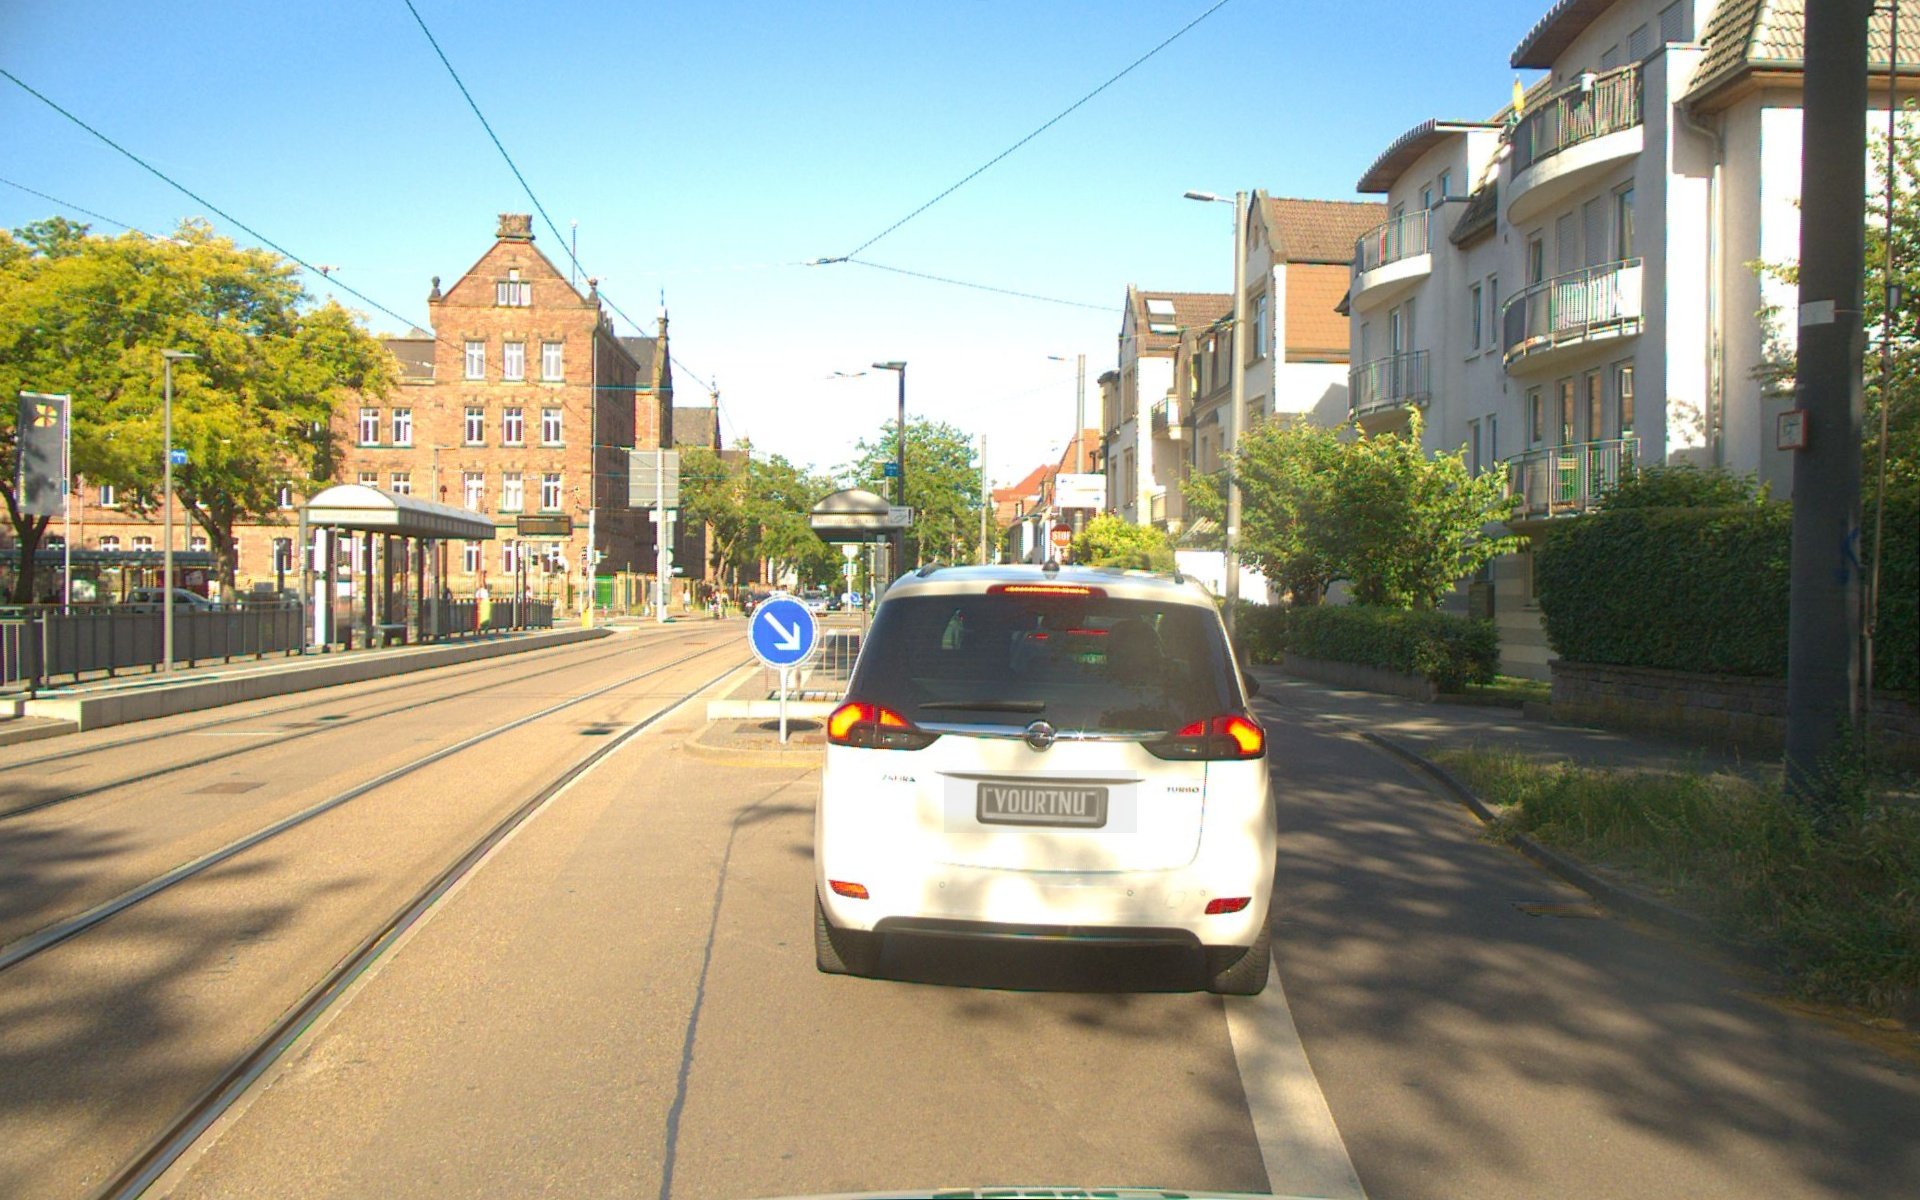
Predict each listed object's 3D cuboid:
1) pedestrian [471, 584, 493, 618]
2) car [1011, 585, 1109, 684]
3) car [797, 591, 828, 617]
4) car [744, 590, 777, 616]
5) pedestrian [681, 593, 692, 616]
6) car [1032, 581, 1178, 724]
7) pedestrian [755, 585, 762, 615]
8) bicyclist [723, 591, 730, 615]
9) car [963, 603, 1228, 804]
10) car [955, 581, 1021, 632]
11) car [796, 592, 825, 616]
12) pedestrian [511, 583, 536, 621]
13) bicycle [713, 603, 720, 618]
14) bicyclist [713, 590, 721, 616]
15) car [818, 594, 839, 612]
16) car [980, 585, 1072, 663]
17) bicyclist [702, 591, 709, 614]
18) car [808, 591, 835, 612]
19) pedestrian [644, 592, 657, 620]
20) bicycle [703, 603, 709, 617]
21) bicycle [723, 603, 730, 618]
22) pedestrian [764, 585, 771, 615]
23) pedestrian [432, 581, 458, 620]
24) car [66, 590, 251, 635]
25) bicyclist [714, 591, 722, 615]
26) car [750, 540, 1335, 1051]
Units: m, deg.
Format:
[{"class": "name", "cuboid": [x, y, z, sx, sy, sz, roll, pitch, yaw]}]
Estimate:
[{"class": "pedestrian", "cuboid": [-22.464, 0.047, 77.774, 0.786, 1.616, 0.934, 1, 0, -3]}, {"class": "car", "cuboid": [1.717, 0.555, 29.271, 1.603, 1.629, 3.855, 0, 0, 1]}, {"class": "car", "cuboid": [-9.543, 0.248, 107.159, 1.955, 1.657, 3.996, 0, 0, -5]}, {"class": "car", "cuboid": [-12.853, 0.199, 106.886, 1.955, 1.657, 3.996, 0, 0, -5]}, {"class": "pedestrian", "cuboid": [-20.976, 0.319, 126.902, 0.720, 1.744, 0.753, 1, -1, -6]}, {"class": "car", "cuboid": [1.744, 0.590, 20.843, 1.603, 1.629, 3.855, 0, 0, 1]}, {"class": "pedestrian", "cuboid": [-13.643, 0.009, 111.751, 0.435, 2.049, 0.495, 0, 0, -4]}, {"class": "bicyclist", "cuboid": [-15.379, 0.202, 108.911, 0.435, 1.580, 0.495, 0, 0, -4]}, {"class": "car", "cuboid": [1.035, 0.753, 13.984, 1.912, 1.422, 4.001, 0, 0, 1]}, {"class": "car", "cuboid": [0.833, 0.195, 51.768, 1.953, 1.529, 3.999, 0, 0, -1]}, {"class": "car", "cuboid": [-10.347, 0.263, 114.253, 1.955, 1.657, 3.996, 0, 0, -5]}, {"class": "pedestrian", "cuboid": [-20.214, 0.094, 76.564, 0.877, 1.713, 1.029, 1, 0, -1]}, {"class": "bicycle", "cuboid": [-15.159, 0.656, 102.839, 0.337, 0.966, 1.159, 1, 0, -4]}, {"class": "bicyclist", "cuboid": [-15.150, 0.181, 103.048, 0.435, 1.580, 0.742, 0, 0, -4]}, {"class": "car", "cuboid": [-12.409, 0.278, 156.264, 1.955, 1.657, 3.984, 0, 0, -5]}, {"class": "car", "cuboid": [1.383, 0.496, 36.191, 1.793, 1.607, 4.009, 0, 0, -1]}, {"class": "bicyclist", "cuboid": [-17.645, 0.187, 114.822, 0.435, 1.580, 0.495, 0, 0, -4]}, {"class": "car", "cuboid": [-10.982, 0.139, 131.557, 1.953, 1.657, 3.998, 0, 0, -3]}, {"class": "pedestrian", "cuboid": [-19.190, 0.390, 102.534, 0.721, 1.744, 0.705, 1, -1, -8]}, {"class": "bicycle", "cuboid": [-17.651, 0.663, 114.858, 0.337, 0.966, 0.996, 1, 0, -4]}, {"class": "bicycle", "cuboid": [-15.389, 0.677, 108.918, 0.337, 0.966, 0.996, 1, 0, -4]}, {"class": "pedestrian", "cuboid": [-13.057, 0.020, 112.047, 0.435, 2.049, 0.495, 0, 0, -4]}, {"class": "pedestrian", "cuboid": [-23.080, 0.043, 74.103, 0.825, 1.721, 1.029, 1, 0, -1]}, {"class": "car", "cuboid": [-35.863, 0.540, 74.204, 6.810, 1.954, 2.991, 0, 0, -2]}, {"class": "bicyclist", "cuboid": [-15.571, 0.188, 106.323, 0.435, 1.580, 0.495, 0, 0, -4]}, {"class": "car", "cuboid": [0.460, 0.654, 7.597, 1.951, 1.673, 3.996, 1, 0, 6]}]
